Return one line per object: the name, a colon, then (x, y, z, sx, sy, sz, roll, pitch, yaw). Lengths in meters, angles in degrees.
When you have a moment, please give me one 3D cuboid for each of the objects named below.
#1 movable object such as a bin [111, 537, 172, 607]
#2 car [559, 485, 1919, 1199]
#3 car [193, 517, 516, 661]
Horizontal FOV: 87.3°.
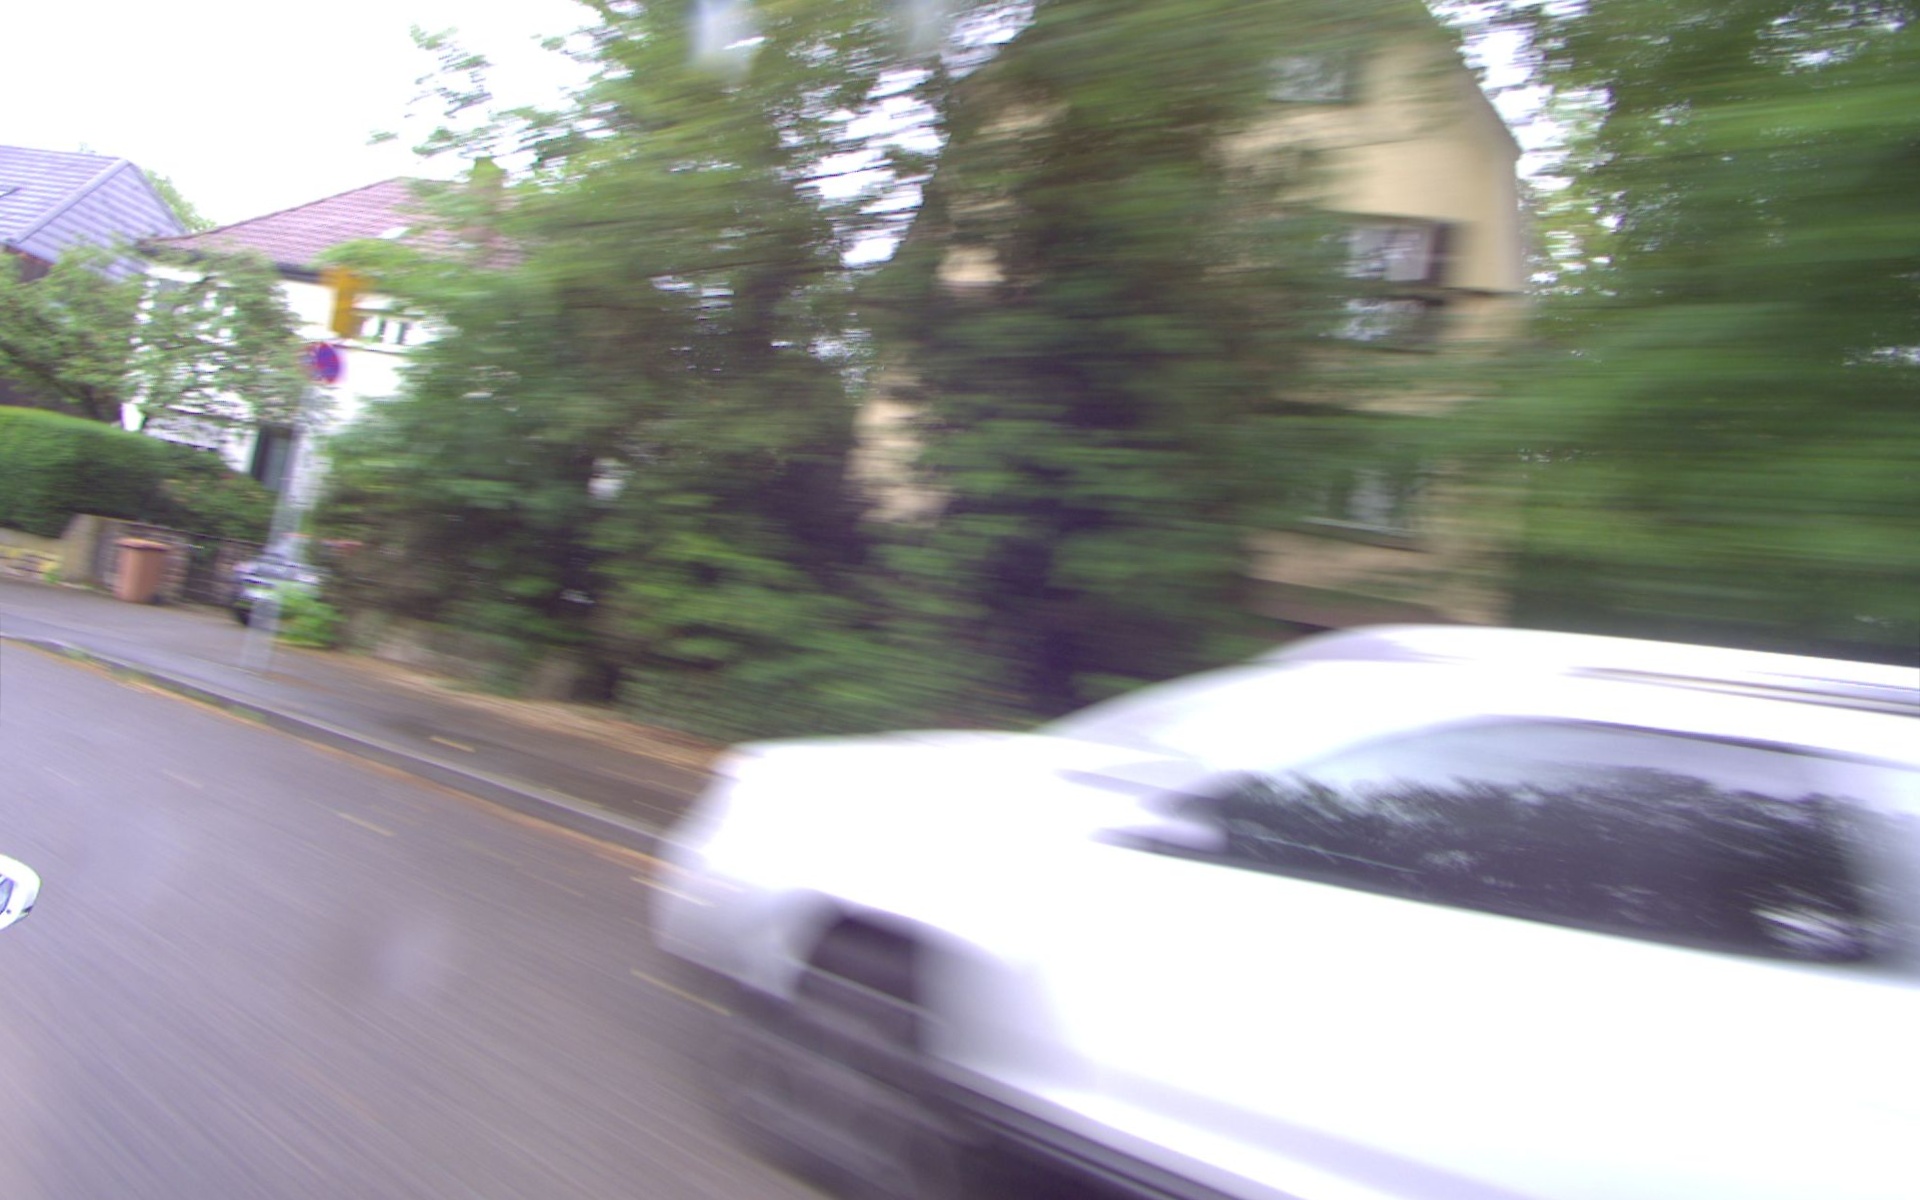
movable object such as a bin: (-12.057, -0.405, 14.817, 0.454, 0.931, 0.420, 8, -1, 21)
car: (1.234, 0.841, 2.689, 4.425, 1.725, 1.749, 7, -1, 30)
car: (-9.093, -0.050, 15.574, 1.739, 1.511, 4.009, 9, -4, 16)
